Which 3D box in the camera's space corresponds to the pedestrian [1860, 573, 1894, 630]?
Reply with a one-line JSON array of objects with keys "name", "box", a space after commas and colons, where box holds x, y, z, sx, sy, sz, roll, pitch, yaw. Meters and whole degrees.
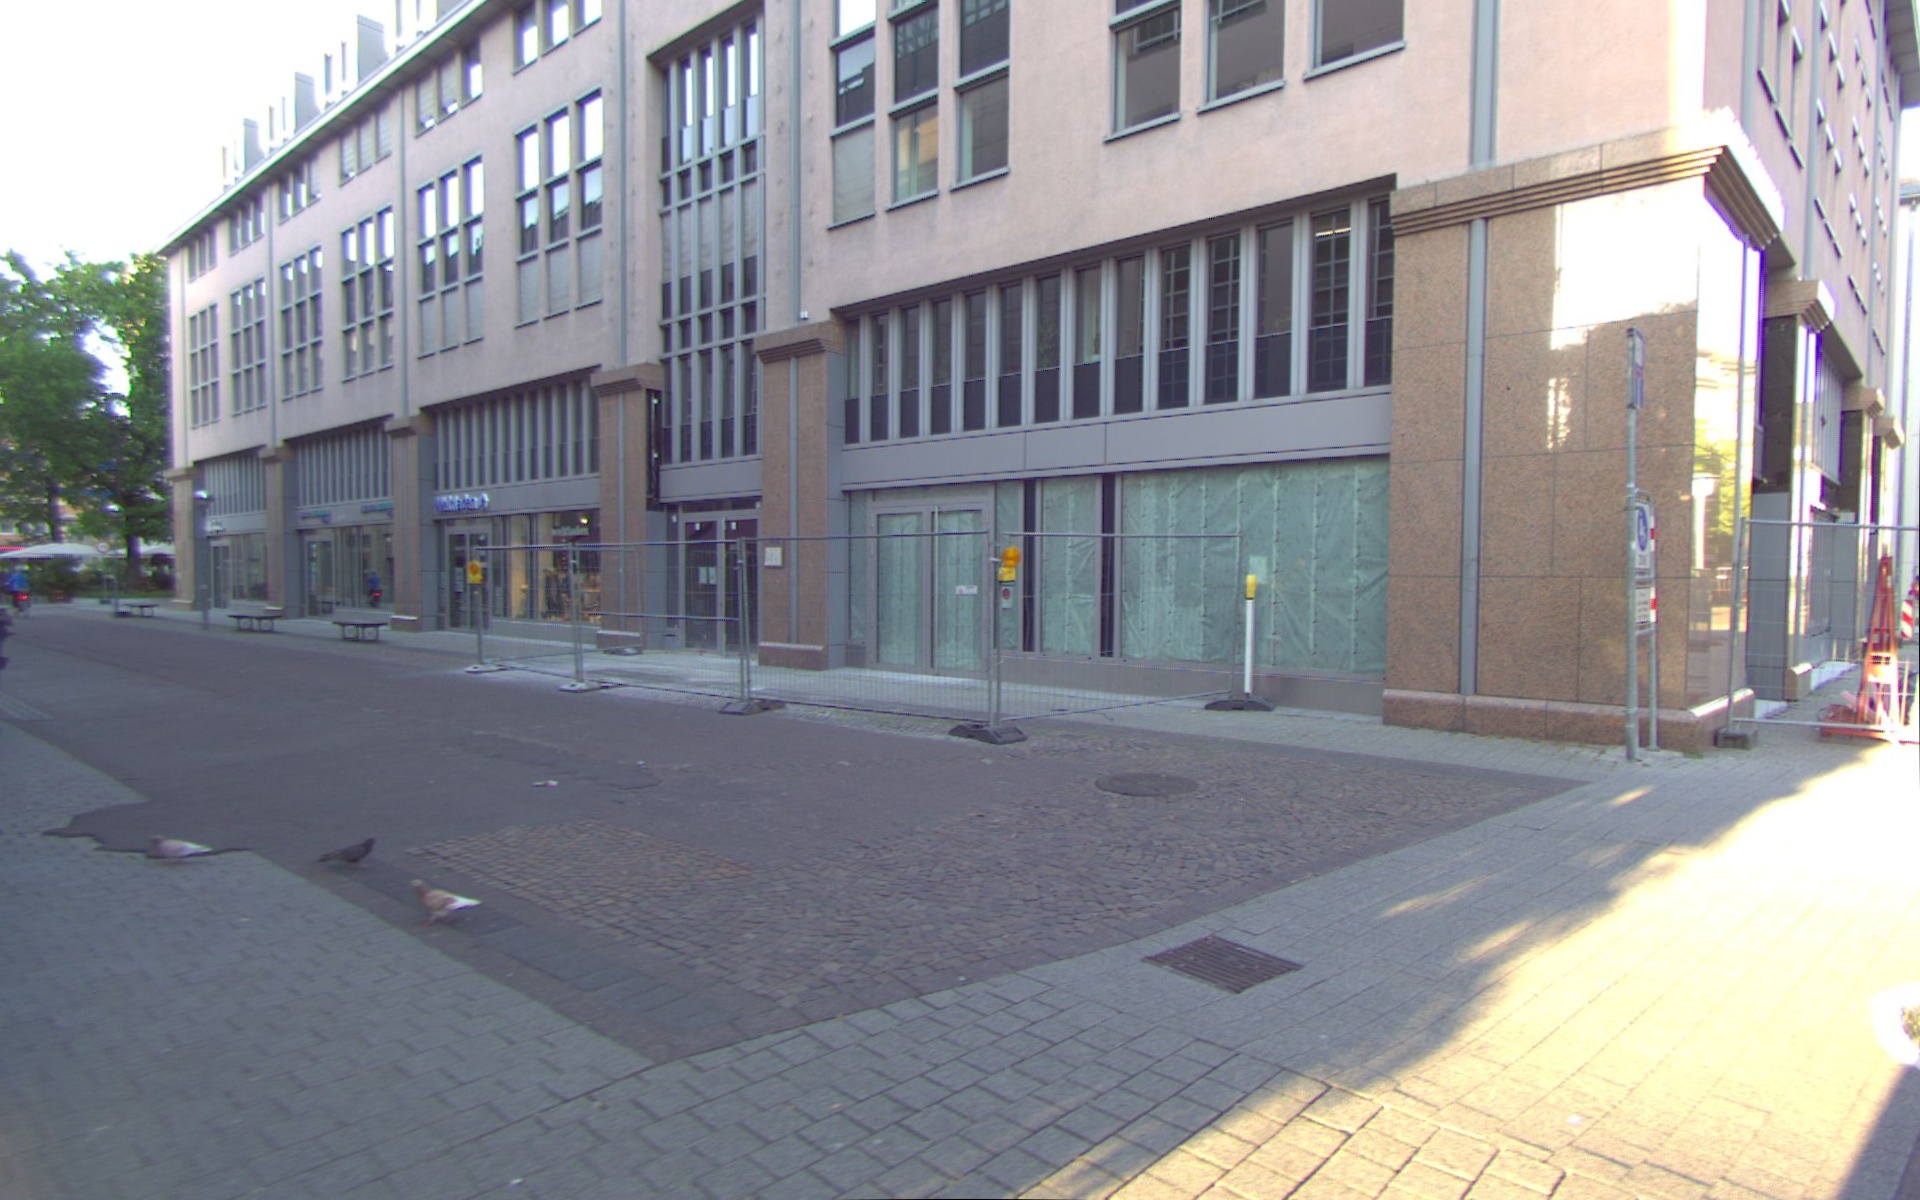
[{"name": "pedestrian", "box": [28.841, 0.036, 31.608, 0.628, 1.749, 0.650, -1, 2, -36]}]

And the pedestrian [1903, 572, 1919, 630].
[{"name": "pedestrian", "box": [29.456, 0.025, 30.813, 0.628, 1.788, 0.650, -1, 2, -36]}]

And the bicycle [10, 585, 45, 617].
[{"name": "bicycle", "box": [-31.975, 0.030, 34.426, 1.917, 1.065, 0.542, 1, 2, 37]}]

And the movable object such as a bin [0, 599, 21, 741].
[{"name": "movable object such as a bin", "box": [-9.978, 0.649, 9.614, 1.150, 1.347, 1.228, 1, -1, 37]}]

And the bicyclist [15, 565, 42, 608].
[{"name": "bicyclist", "box": [-31.805, -0.466, 34.292, 0.622, 1.427, 0.587, 2, 2, 37]}]

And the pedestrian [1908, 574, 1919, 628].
[{"name": "pedestrian", "box": [29.915, 0.033, 31.113, 0.628, 1.674, 0.650, -1, 2, -36]}]
